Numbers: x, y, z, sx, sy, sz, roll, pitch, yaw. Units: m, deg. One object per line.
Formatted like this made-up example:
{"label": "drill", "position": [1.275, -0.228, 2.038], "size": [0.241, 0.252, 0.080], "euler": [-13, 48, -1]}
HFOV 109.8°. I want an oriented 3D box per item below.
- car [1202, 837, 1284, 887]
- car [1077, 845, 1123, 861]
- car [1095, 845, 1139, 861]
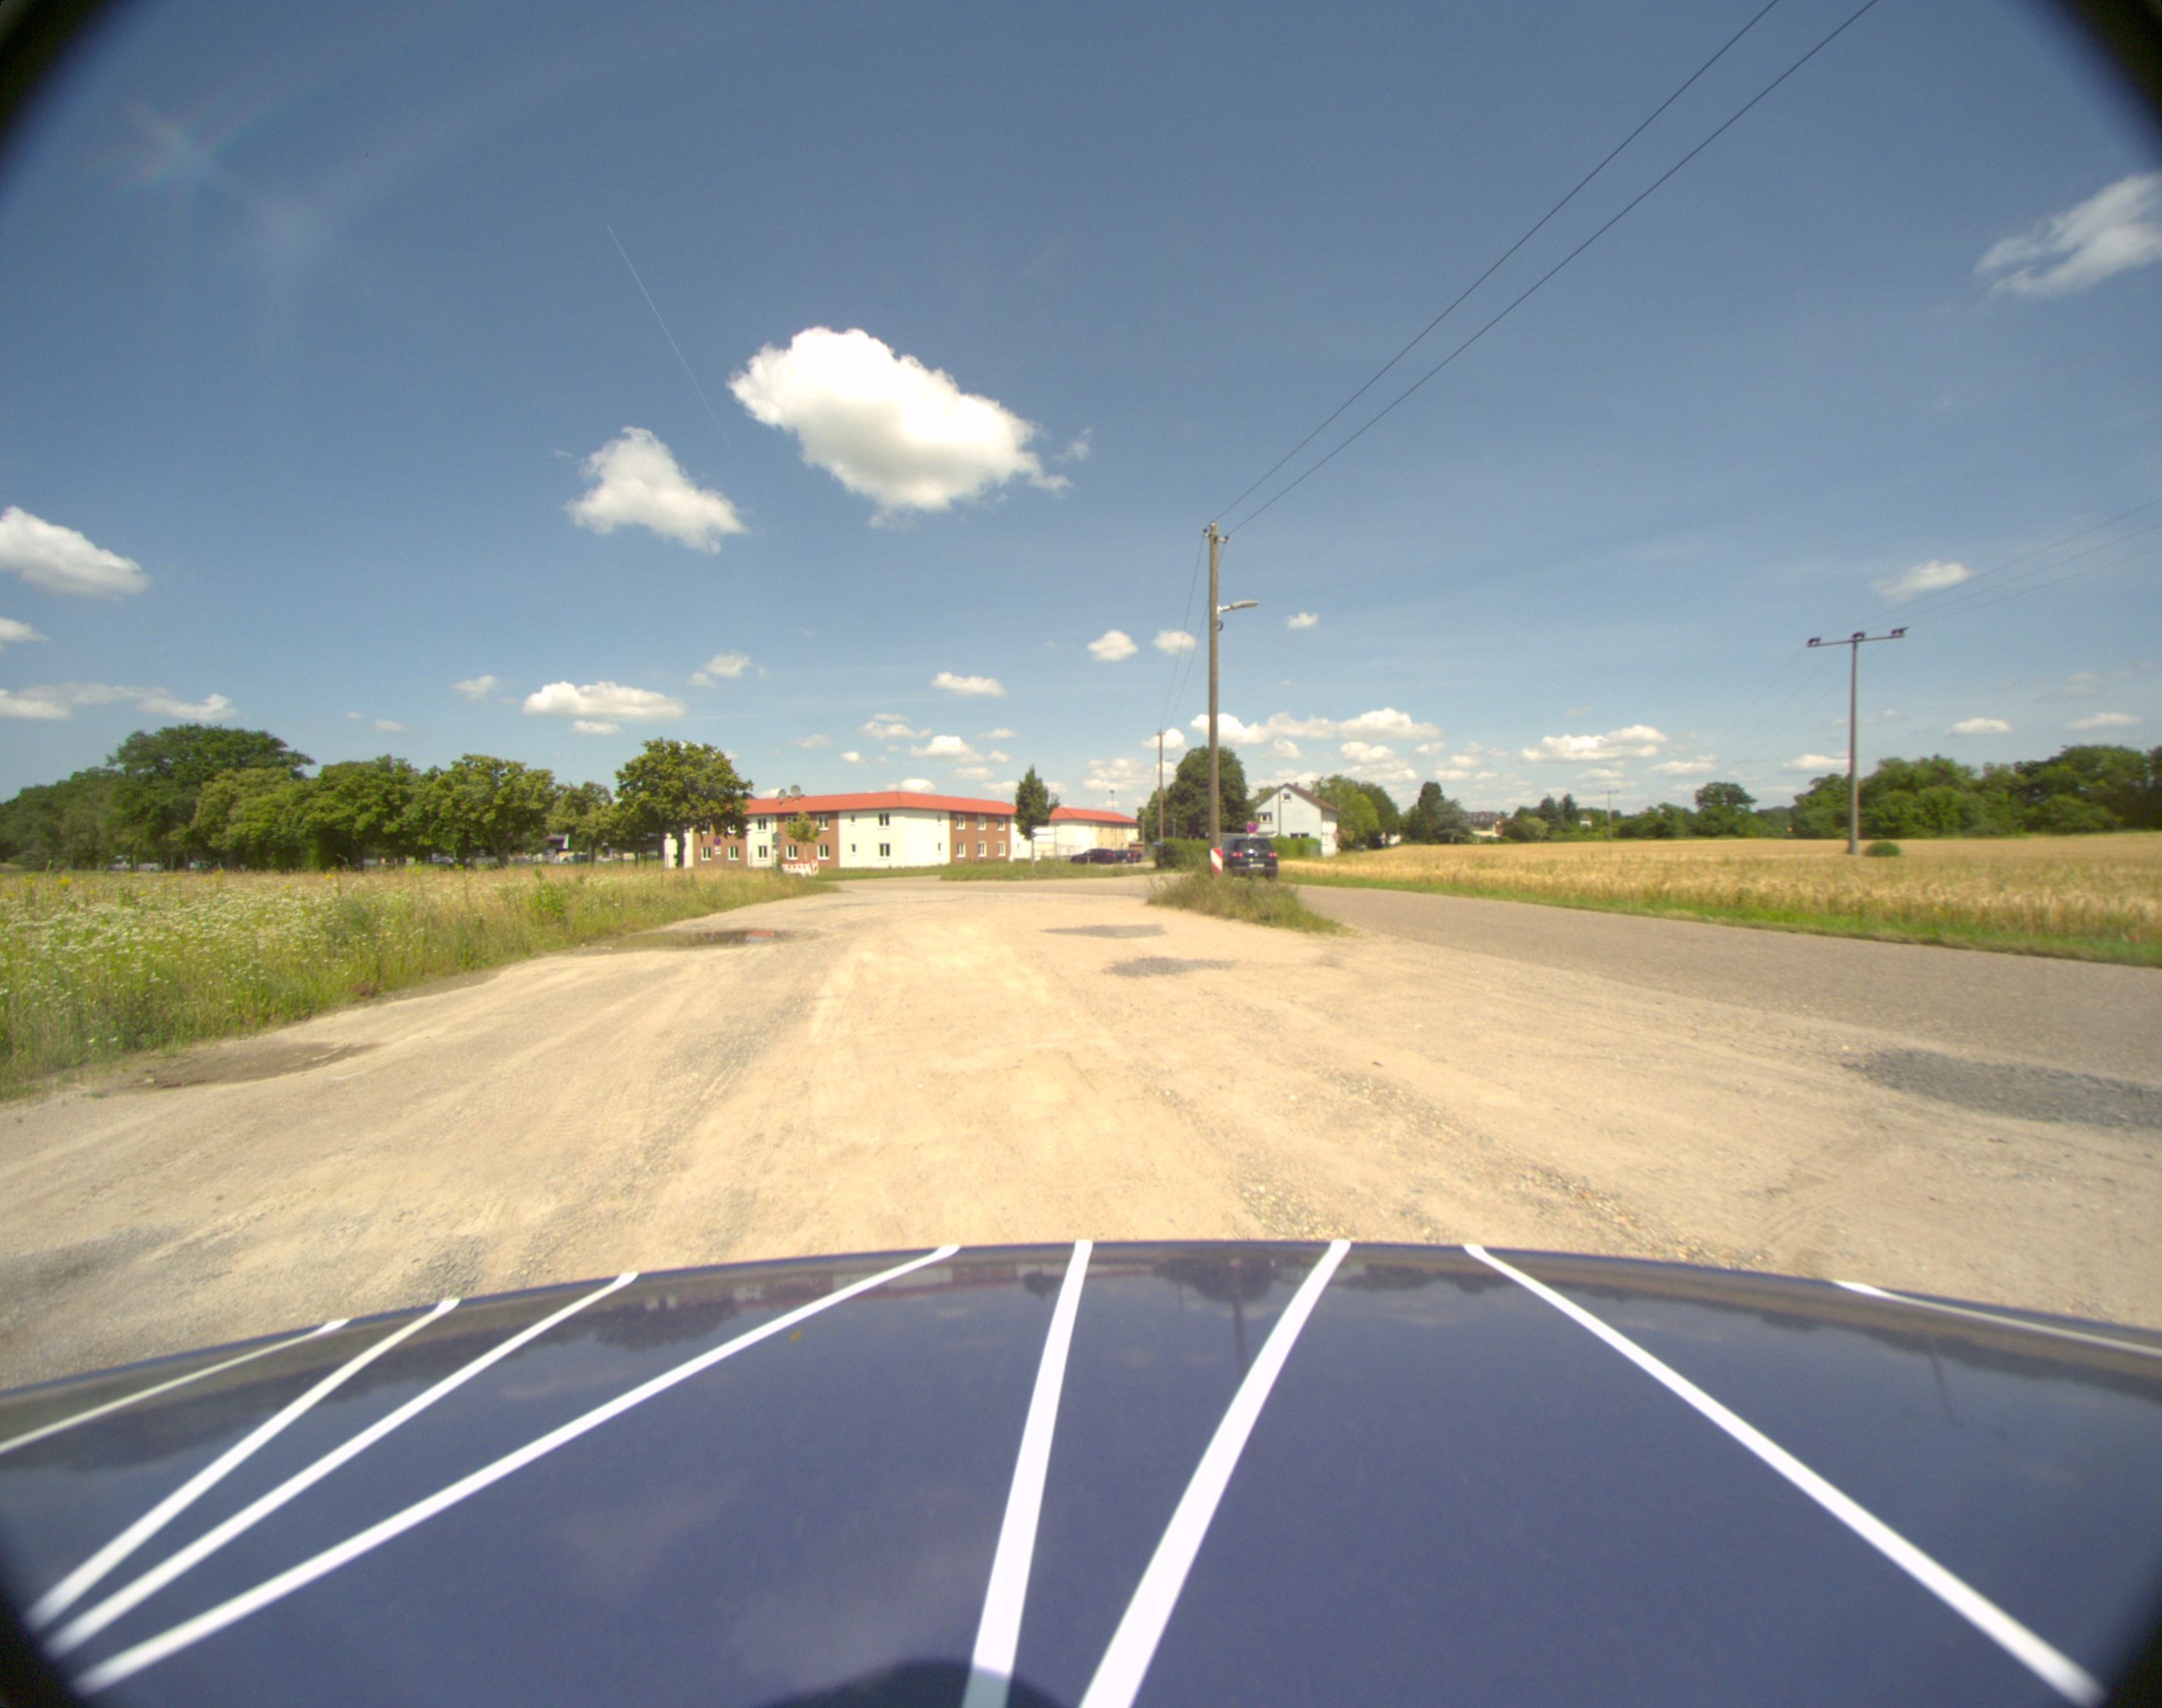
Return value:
{"label": "car", "position": [5.940, 0.215, 28.363], "size": [1.749, 1.669, 4.252], "euler": [-2, 1, -5]}
{"label": "car", "position": [1.866, -0.091, 75.587], "size": [4.138, 1.605, 2.003], "euler": [0, 1, 24]}
{"label": "car", "position": [3.782, -0.141, 79.045], "size": [4.138, 1.605, 2.003], "euler": [0, 1, 24]}
